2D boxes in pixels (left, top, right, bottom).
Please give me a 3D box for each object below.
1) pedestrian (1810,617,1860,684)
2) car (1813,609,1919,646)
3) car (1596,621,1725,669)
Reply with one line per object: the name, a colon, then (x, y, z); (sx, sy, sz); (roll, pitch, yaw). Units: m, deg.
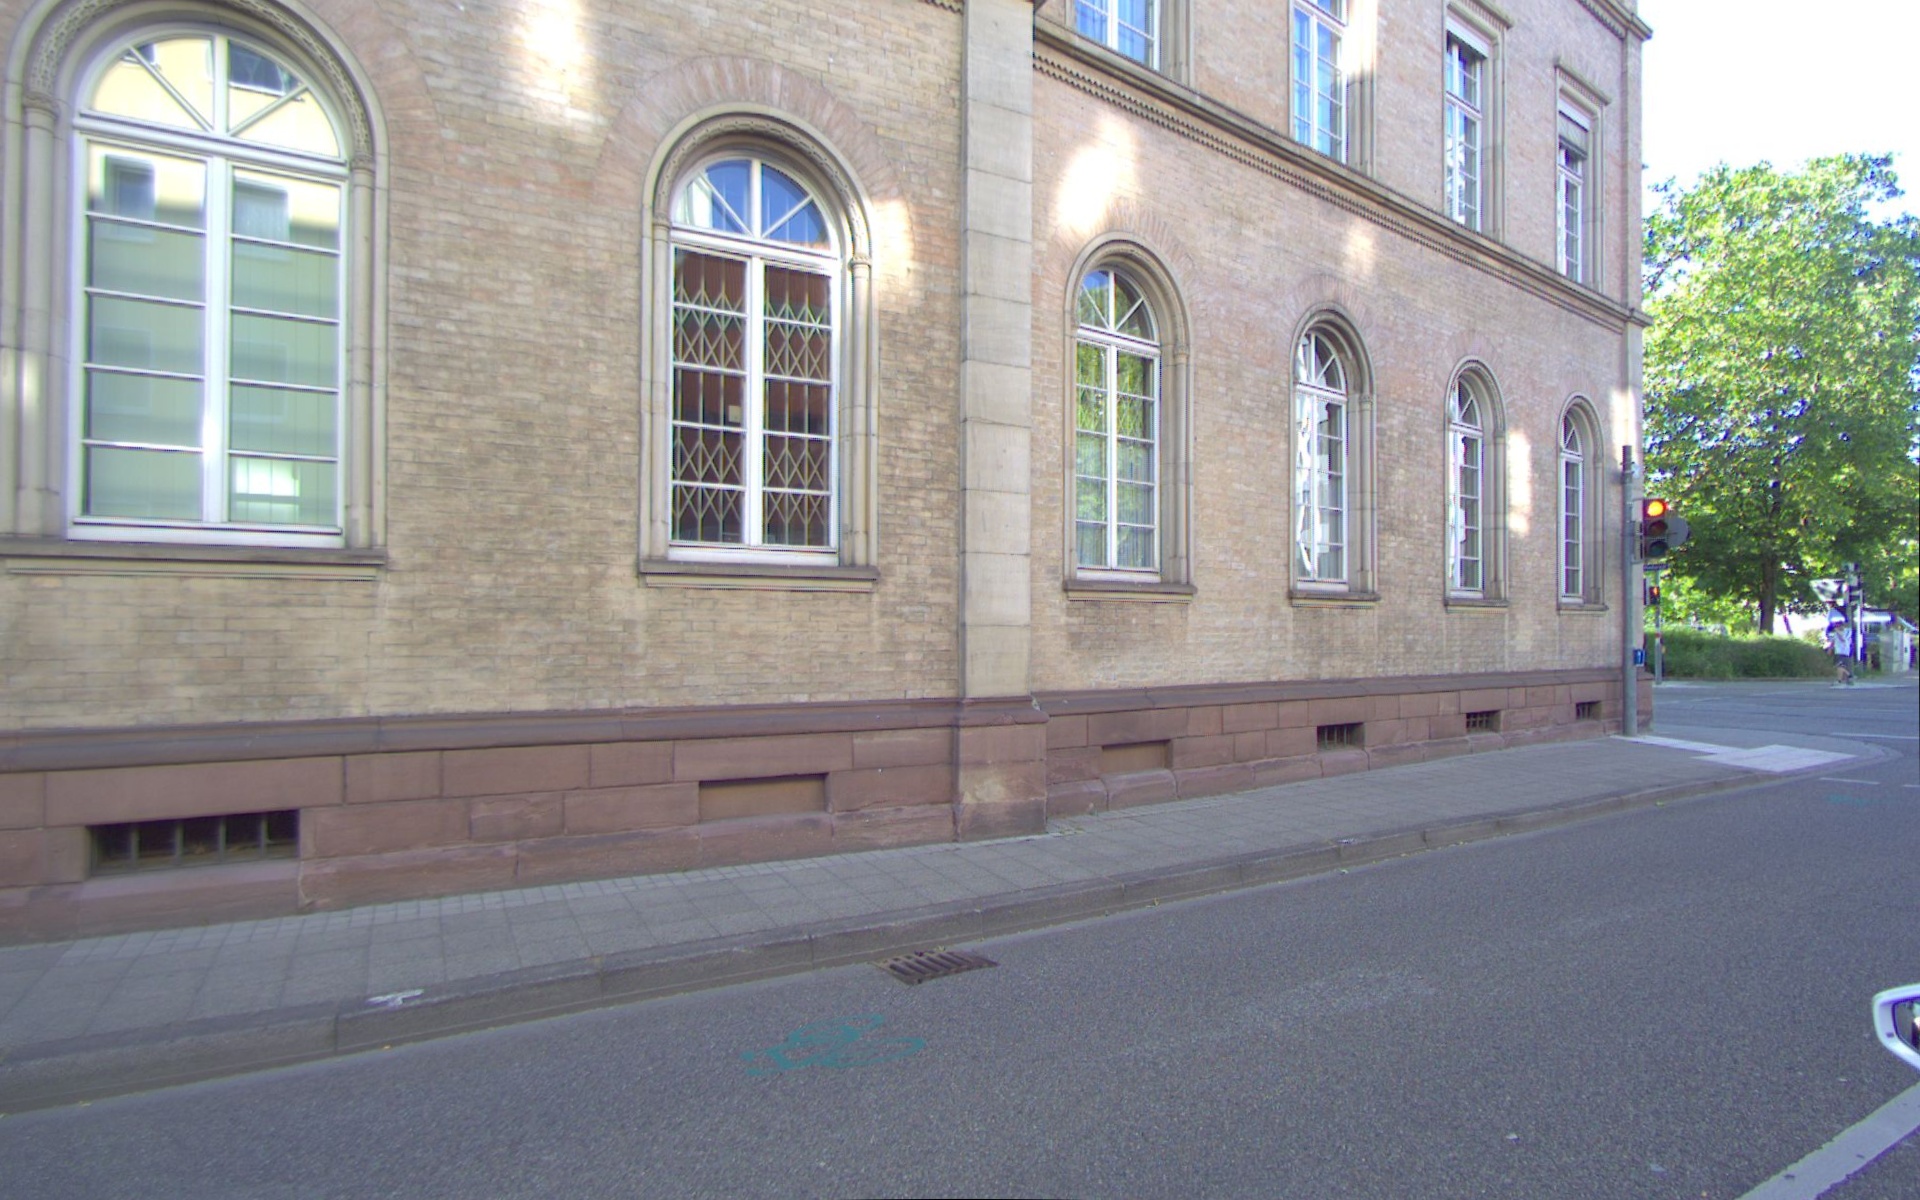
pedestrian: (25.557, 1.469, 29.359); (0.900, 1.893, 0.742); (2, 0, 25)
car: (53.498, 1.611, 59.385); (1.983, 2.040, 4.409); (2, 0, -38)
car: (24.378, 1.528, 35.022); (1.636, 1.476, 3.382); (2, 0, -39)
